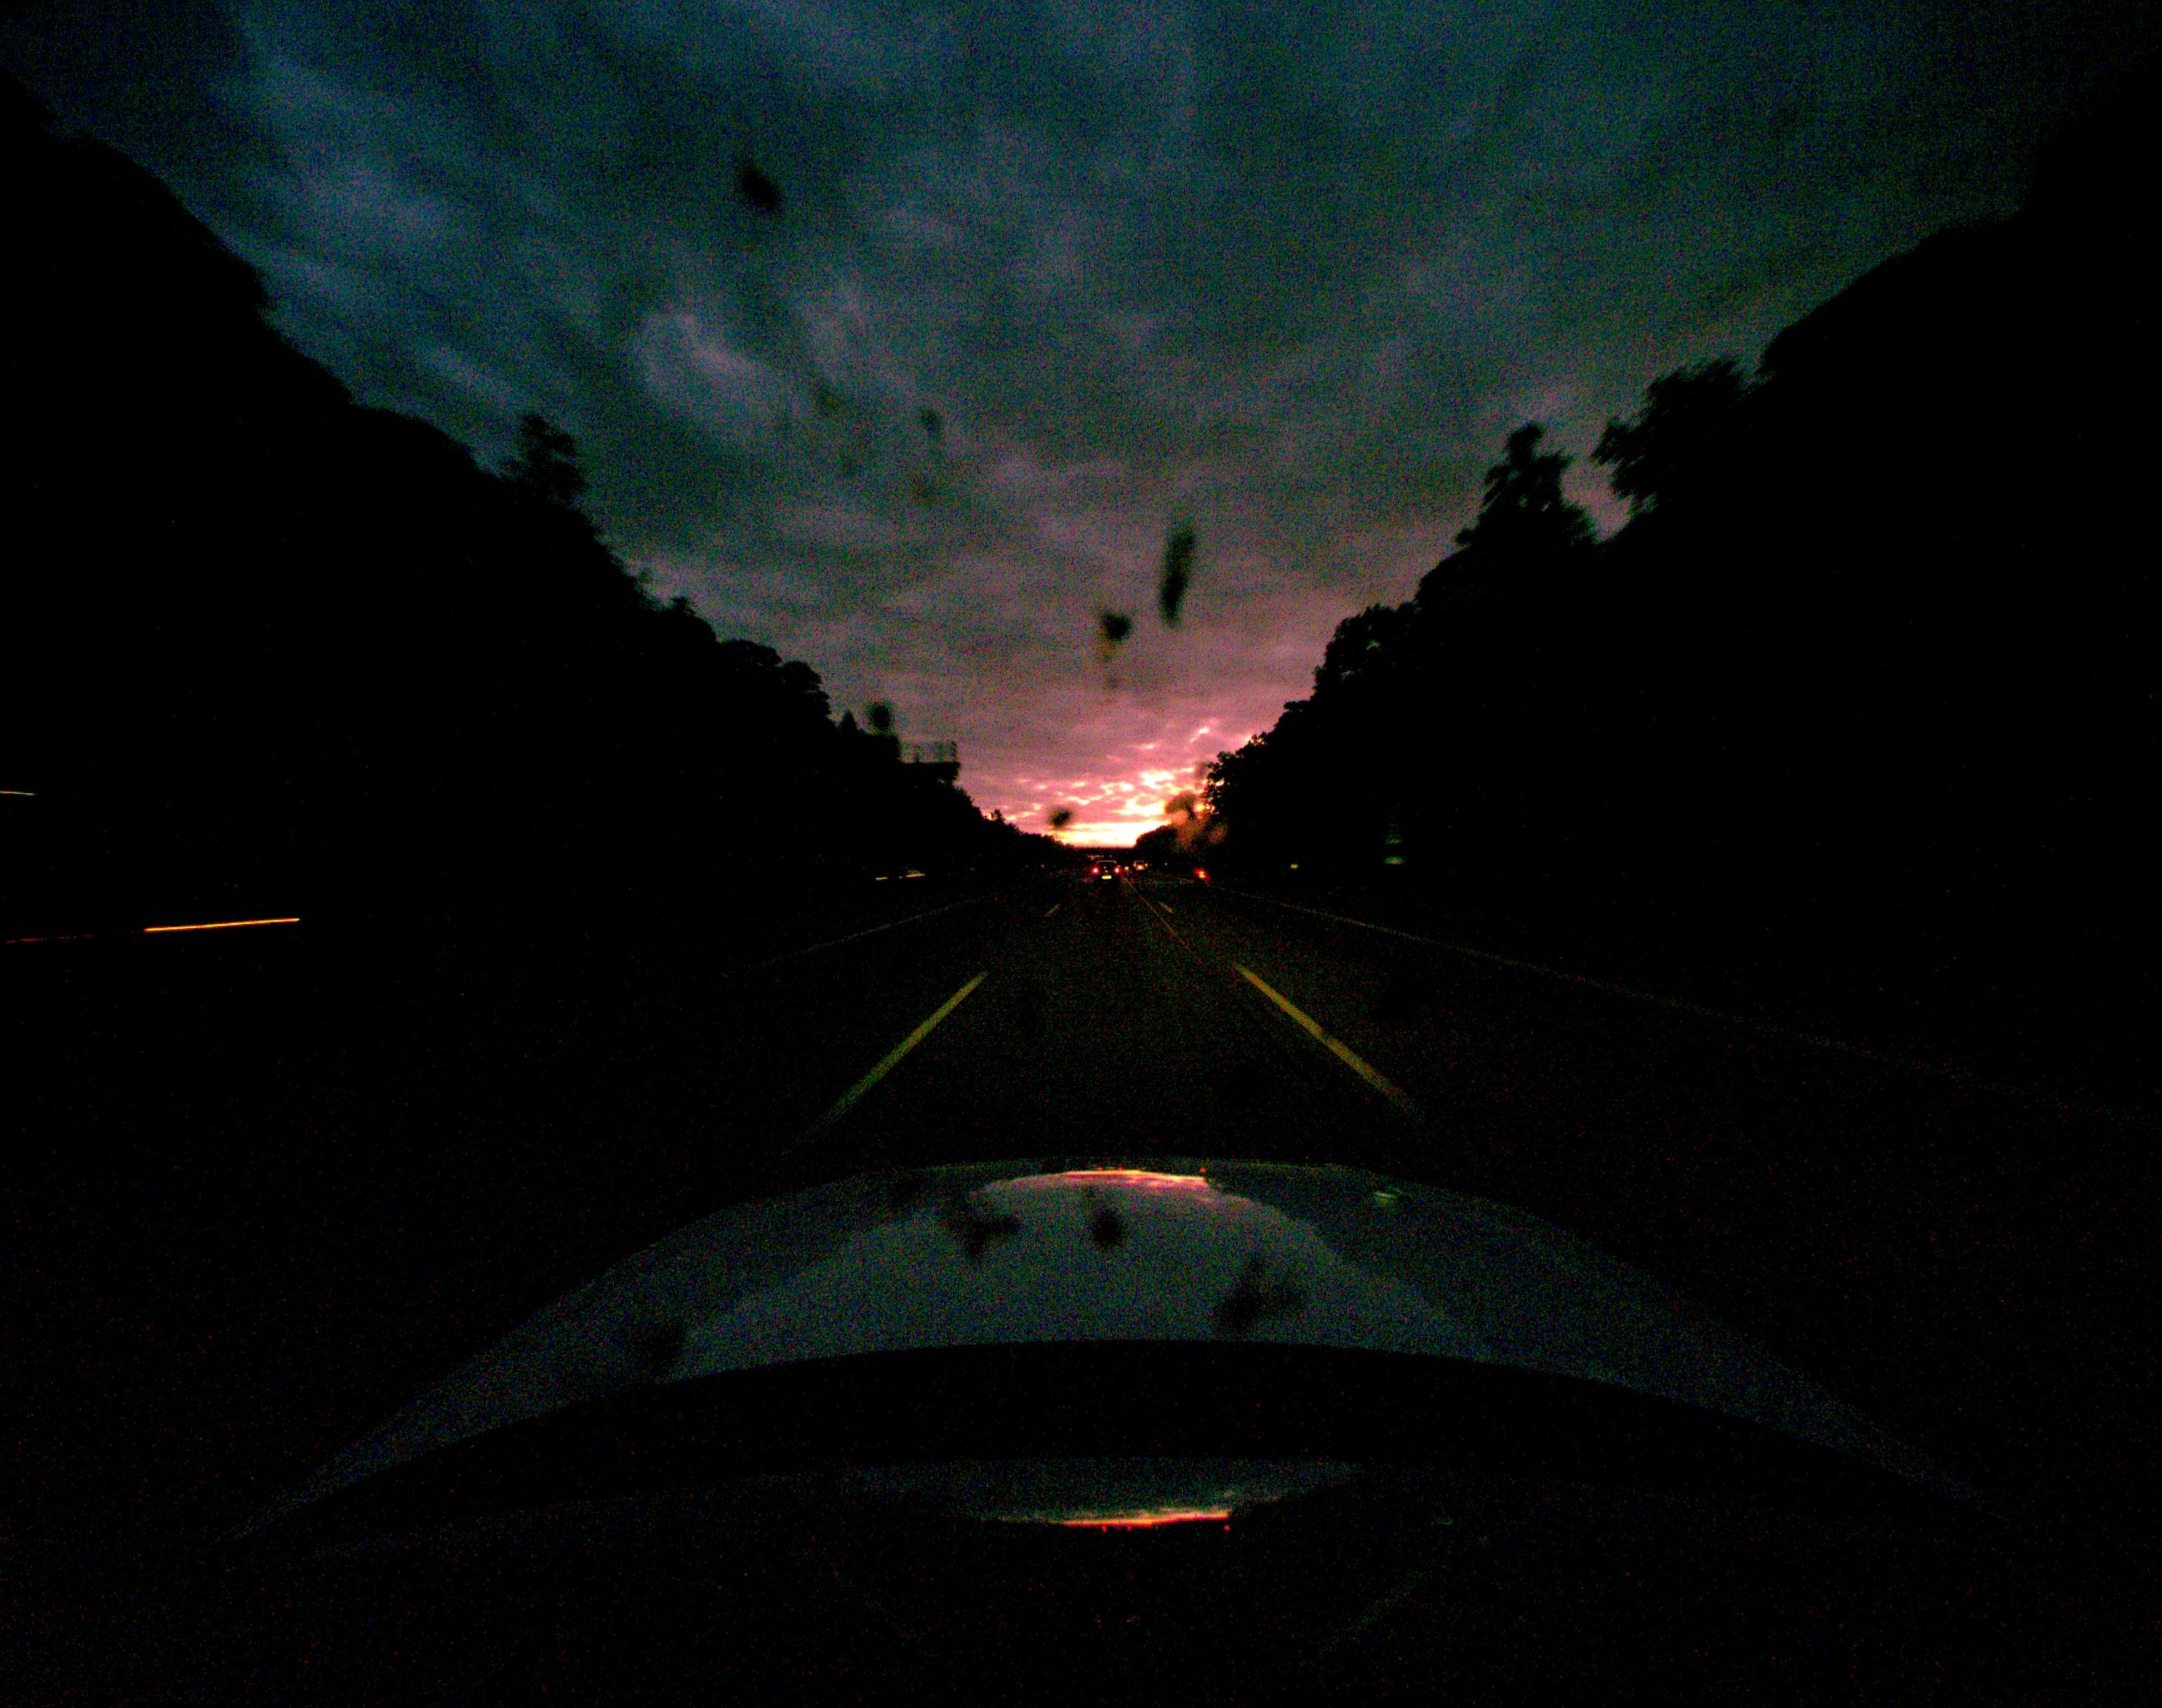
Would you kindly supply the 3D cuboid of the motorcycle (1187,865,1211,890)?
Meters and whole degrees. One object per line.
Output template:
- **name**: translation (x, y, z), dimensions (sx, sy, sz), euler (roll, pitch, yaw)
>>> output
- **motorcycle**: translation (5.652, 1.106, 39.204), dimensions (0.826, 1.134, 2.477), euler (-1, 0, 2)

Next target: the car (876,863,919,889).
- **car**: translation (-13.216, 1.544, 58.970), dimensions (1.910, 1.765, 5.007), euler (-2, -1, 0)

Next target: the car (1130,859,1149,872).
- **car**: translation (7.113, 1.407, 99.725), dimensions (1.861, 1.494, 4.394), euler (0, -1, -2)

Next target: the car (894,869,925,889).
- **car**: translation (-16.387, 2.351, 78.191), dimensions (1.911, 1.765, 5.006), euler (-2, -1, -1)

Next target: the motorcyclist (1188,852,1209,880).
- **motorcyclist**: translation (5.636, 0.570, 39.143), dimensions (0.826, 1.291, 1.190), euler (-1, -1, 2)

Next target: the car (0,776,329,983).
- **car**: translation (-18.350, 0.446, 14.191), dimensions (2.603, 3.284, 8.232), euler (-2, -1, 2)

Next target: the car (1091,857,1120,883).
- **car**: translation (1.518, 0.971, 49.436), dimensions (1.697, 1.509, 4.233), euler (0, -1, 2)
